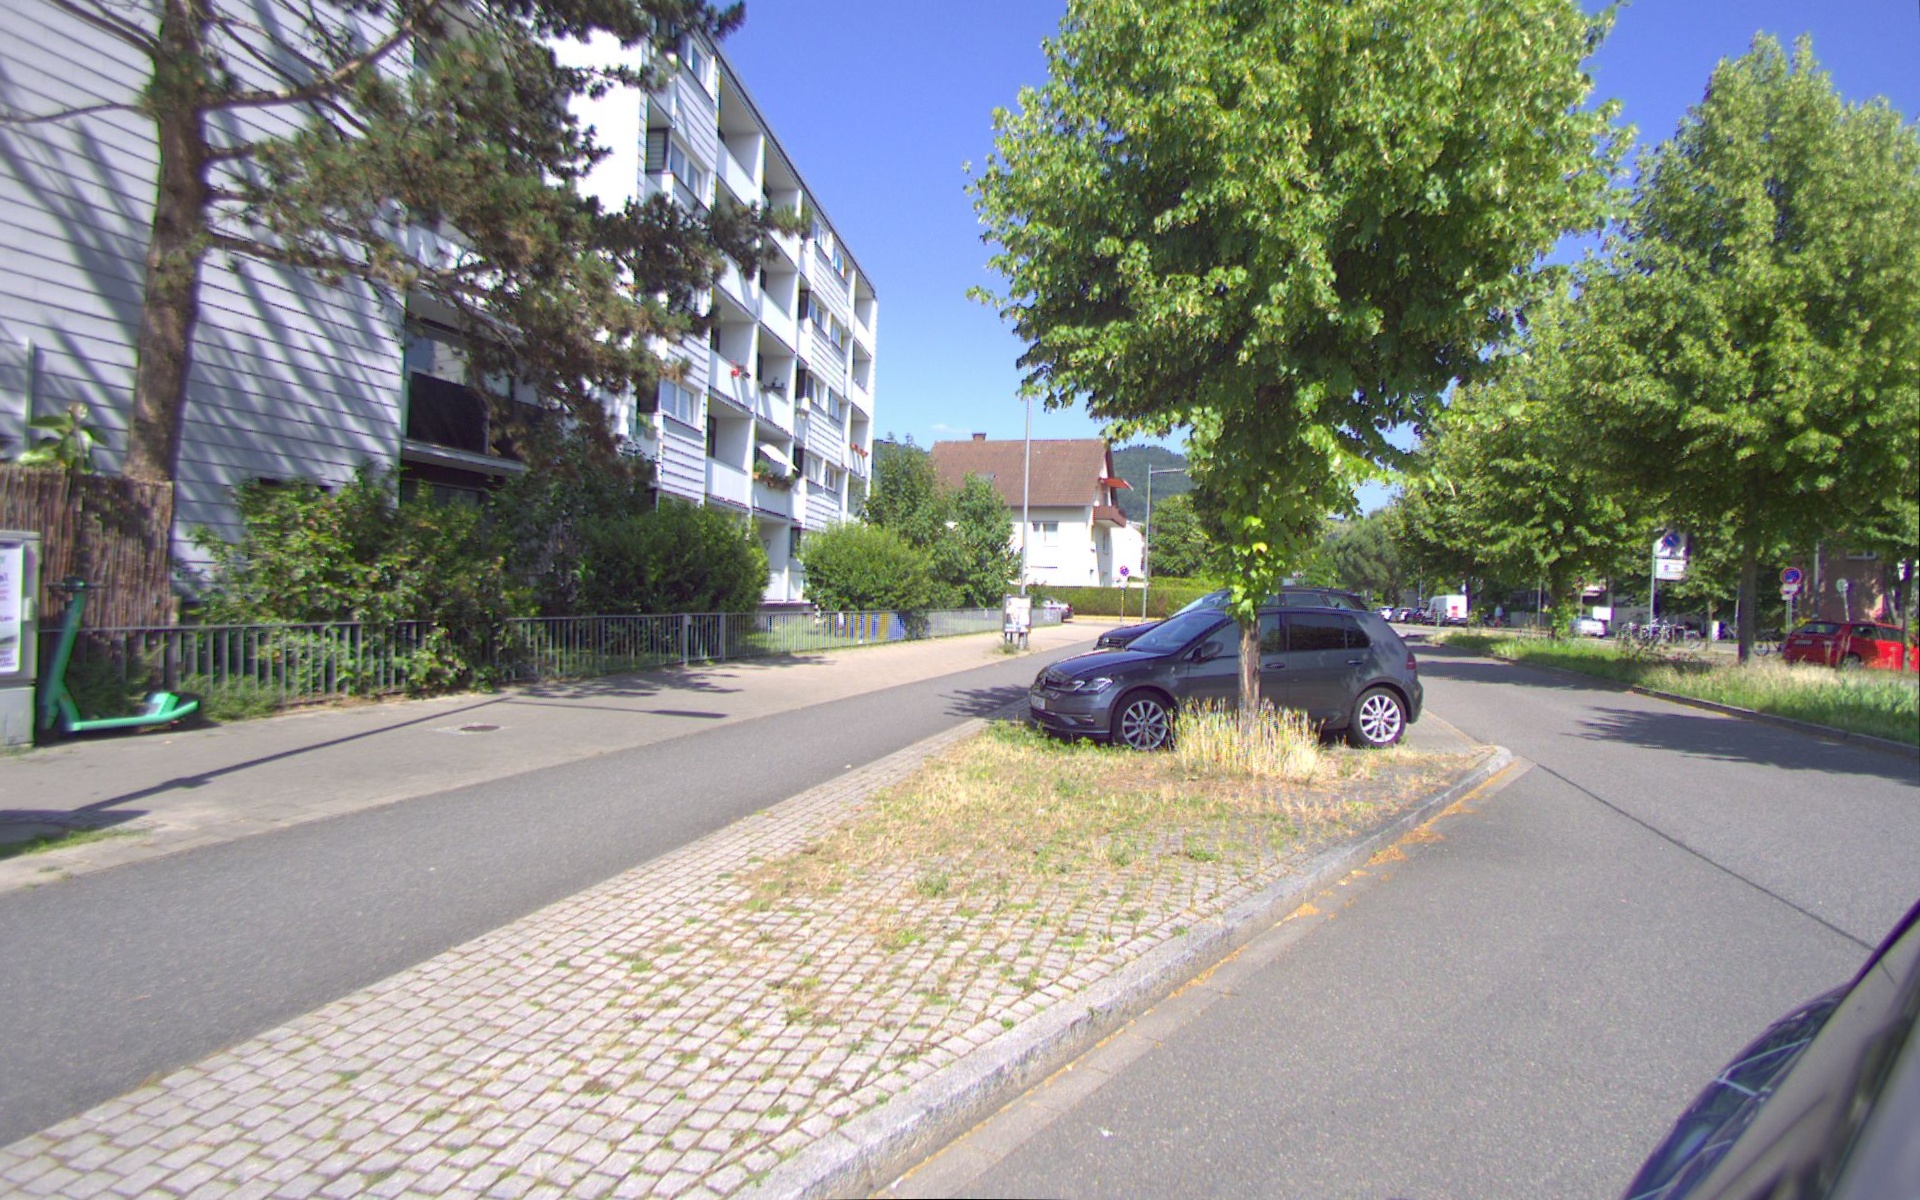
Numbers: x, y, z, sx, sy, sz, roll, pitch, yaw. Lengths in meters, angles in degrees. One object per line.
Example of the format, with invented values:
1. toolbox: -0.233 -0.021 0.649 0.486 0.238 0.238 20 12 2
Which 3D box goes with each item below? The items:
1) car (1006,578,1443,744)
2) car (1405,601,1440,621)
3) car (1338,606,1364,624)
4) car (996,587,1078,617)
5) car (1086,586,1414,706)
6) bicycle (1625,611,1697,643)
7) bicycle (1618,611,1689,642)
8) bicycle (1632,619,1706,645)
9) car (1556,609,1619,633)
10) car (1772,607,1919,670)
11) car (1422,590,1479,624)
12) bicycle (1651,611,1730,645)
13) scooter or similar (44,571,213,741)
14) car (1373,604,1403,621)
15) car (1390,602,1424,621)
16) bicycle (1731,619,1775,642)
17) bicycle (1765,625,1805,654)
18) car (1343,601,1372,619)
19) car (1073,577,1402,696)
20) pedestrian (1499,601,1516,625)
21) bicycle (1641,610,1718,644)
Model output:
1. car: 2.719 0.599 10.857 4.031 1.549 2.004 1 0 -13
2. car: 40.106 0.972 87.854 1.698 1.578 3.989 3 0 9
3. car: 38.251 1.464 99.056 1.721 1.566 4.058 3 1 12
4. car: 4.141 0.119 54.585 4.075 1.416 1.799 2 -2 18
5. car: 3.894 0.603 13.854 3.916 1.492 1.772 1 0 -12
6. bicycle: 31.315 1.194 45.237 2.517 1.255 0.736 3 0 15
7. bicycle: 31.624 1.205 46.210 2.517 1.272 0.736 3 0 15
8. bicycle: 30.917 1.380 44.159 2.517 1.000 0.736 3 0 15
9. car: 37.228 1.232 60.179 1.698 1.282 3.989 3 0 9
10. car: 24.493 1.046 27.078 3.921 1.485 2.001 3 0 -3
11. car: 39.568 0.543 81.777 2.059 2.528 5.943 3 0 6
12. bicycle: 30.253 1.155 41.940 2.516 1.272 0.736 2 0 15
13. scooter or similar: -6.155 0.389 7.532 0.229 1.181 0.950 1 0 24
14. car: 41.809 1.197 98.945 1.698 1.578 3.989 3 0 9
15. car: 40.926 1.031 92.732 1.698 1.578 4.659 3 0 9
16. bicycle: 40.432 1.543 51.617 0.370 1.094 1.717 2 -1 -32
17. bicycle: 28.513 1.372 35.005 0.514 0.914 1.266 3 1 12
18. car: 43.153 1.045 109.897 1.816 1.786 4.575 3 0 7
19. car: 4.303 0.561 15.882 4.646 1.681 1.756 1 0 -13
20. pedestrian: 42.946 1.003 79.432 0.962 1.802 0.722 2 0 14
21. bicycle: 30.500 1.129 42.926 2.487 1.272 0.736 3 0 15
